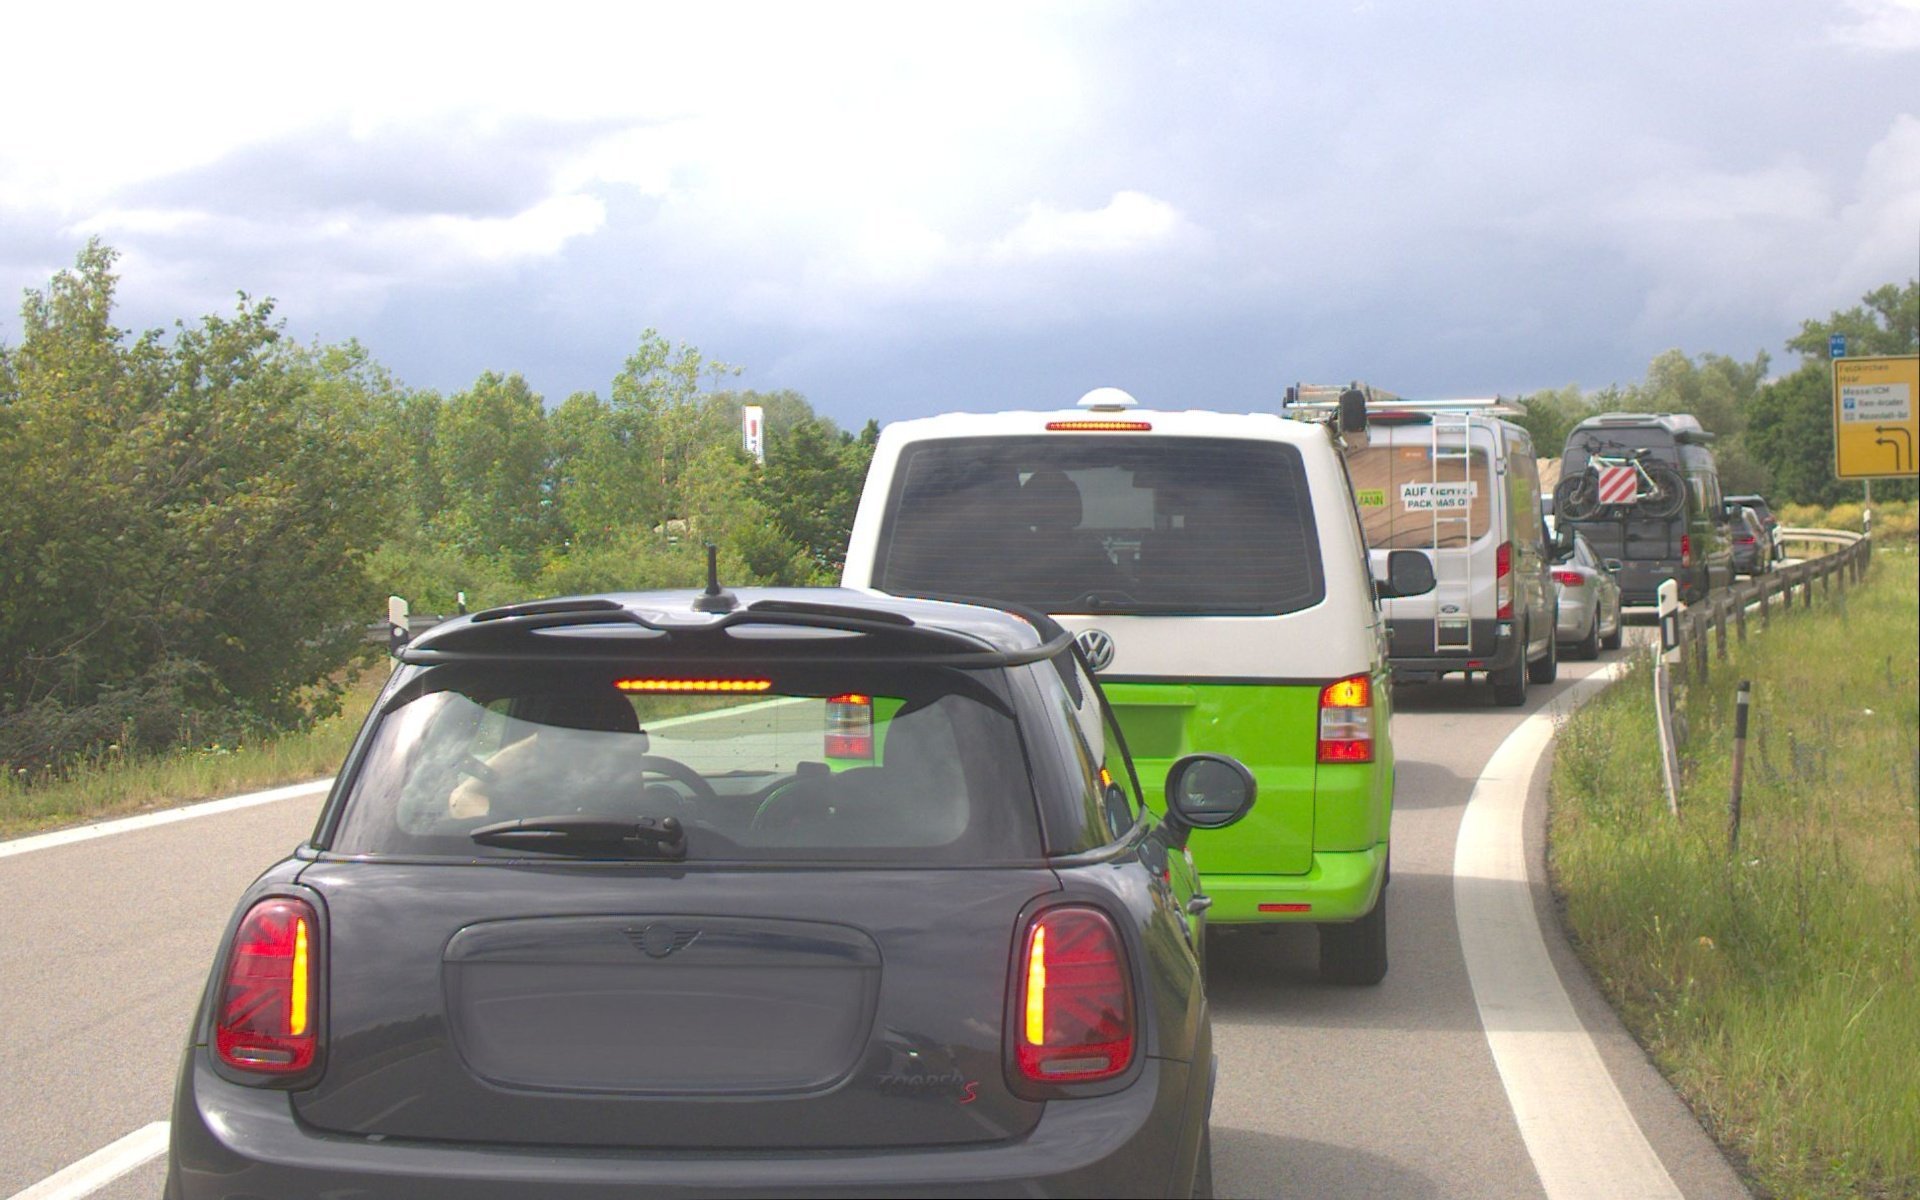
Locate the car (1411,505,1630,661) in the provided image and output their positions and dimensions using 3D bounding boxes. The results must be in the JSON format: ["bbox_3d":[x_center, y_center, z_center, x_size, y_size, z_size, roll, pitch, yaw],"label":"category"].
[{"bbox_3d":[6.338,-0.201,38.560,1.995,1.636,3.926,1,1,15],"label":"car"}]

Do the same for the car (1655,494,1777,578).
[{"bbox_3d":[14.882,-1.240,67.533,1.895,1.583,4.491,1,1,18],"label":"car"}]

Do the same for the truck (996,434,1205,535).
[{"bbox_3d":[5.709,-4.701,142.041,2.837,3.962,10.028,0,1,-37],"label":"truck"}]

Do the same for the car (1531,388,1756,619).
[{"bbox_3d":[9.845,-1.319,49.047,2.313,3.058,6.656,1,1,18],"label":"car"}]

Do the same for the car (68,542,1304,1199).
[{"bbox_3d":[-0.295,0.667,6.848,1.800,1.541,3.738,0,1,4],"label":"car"}]

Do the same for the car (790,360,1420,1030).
[{"bbox_3d":[0.711,0.254,12.664,1.911,2.038,4.180,0,1,8],"label":"car"}]

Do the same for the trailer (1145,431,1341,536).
[{"bbox_3d":[10.960,-4.483,134.223,3.036,3.884,8.773,1,1,-31],"label":"trailer"}]

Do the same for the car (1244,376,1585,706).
[{"bbox_3d":[4.102,-0.504,30.159,2.213,2.613,5.530,1,1,15],"label":"car"}]

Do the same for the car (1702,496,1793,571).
[{"bbox_3d":[20.500,-1.710,89.618,2.096,1.876,4.493,1,1,11],"label":"car"}]
